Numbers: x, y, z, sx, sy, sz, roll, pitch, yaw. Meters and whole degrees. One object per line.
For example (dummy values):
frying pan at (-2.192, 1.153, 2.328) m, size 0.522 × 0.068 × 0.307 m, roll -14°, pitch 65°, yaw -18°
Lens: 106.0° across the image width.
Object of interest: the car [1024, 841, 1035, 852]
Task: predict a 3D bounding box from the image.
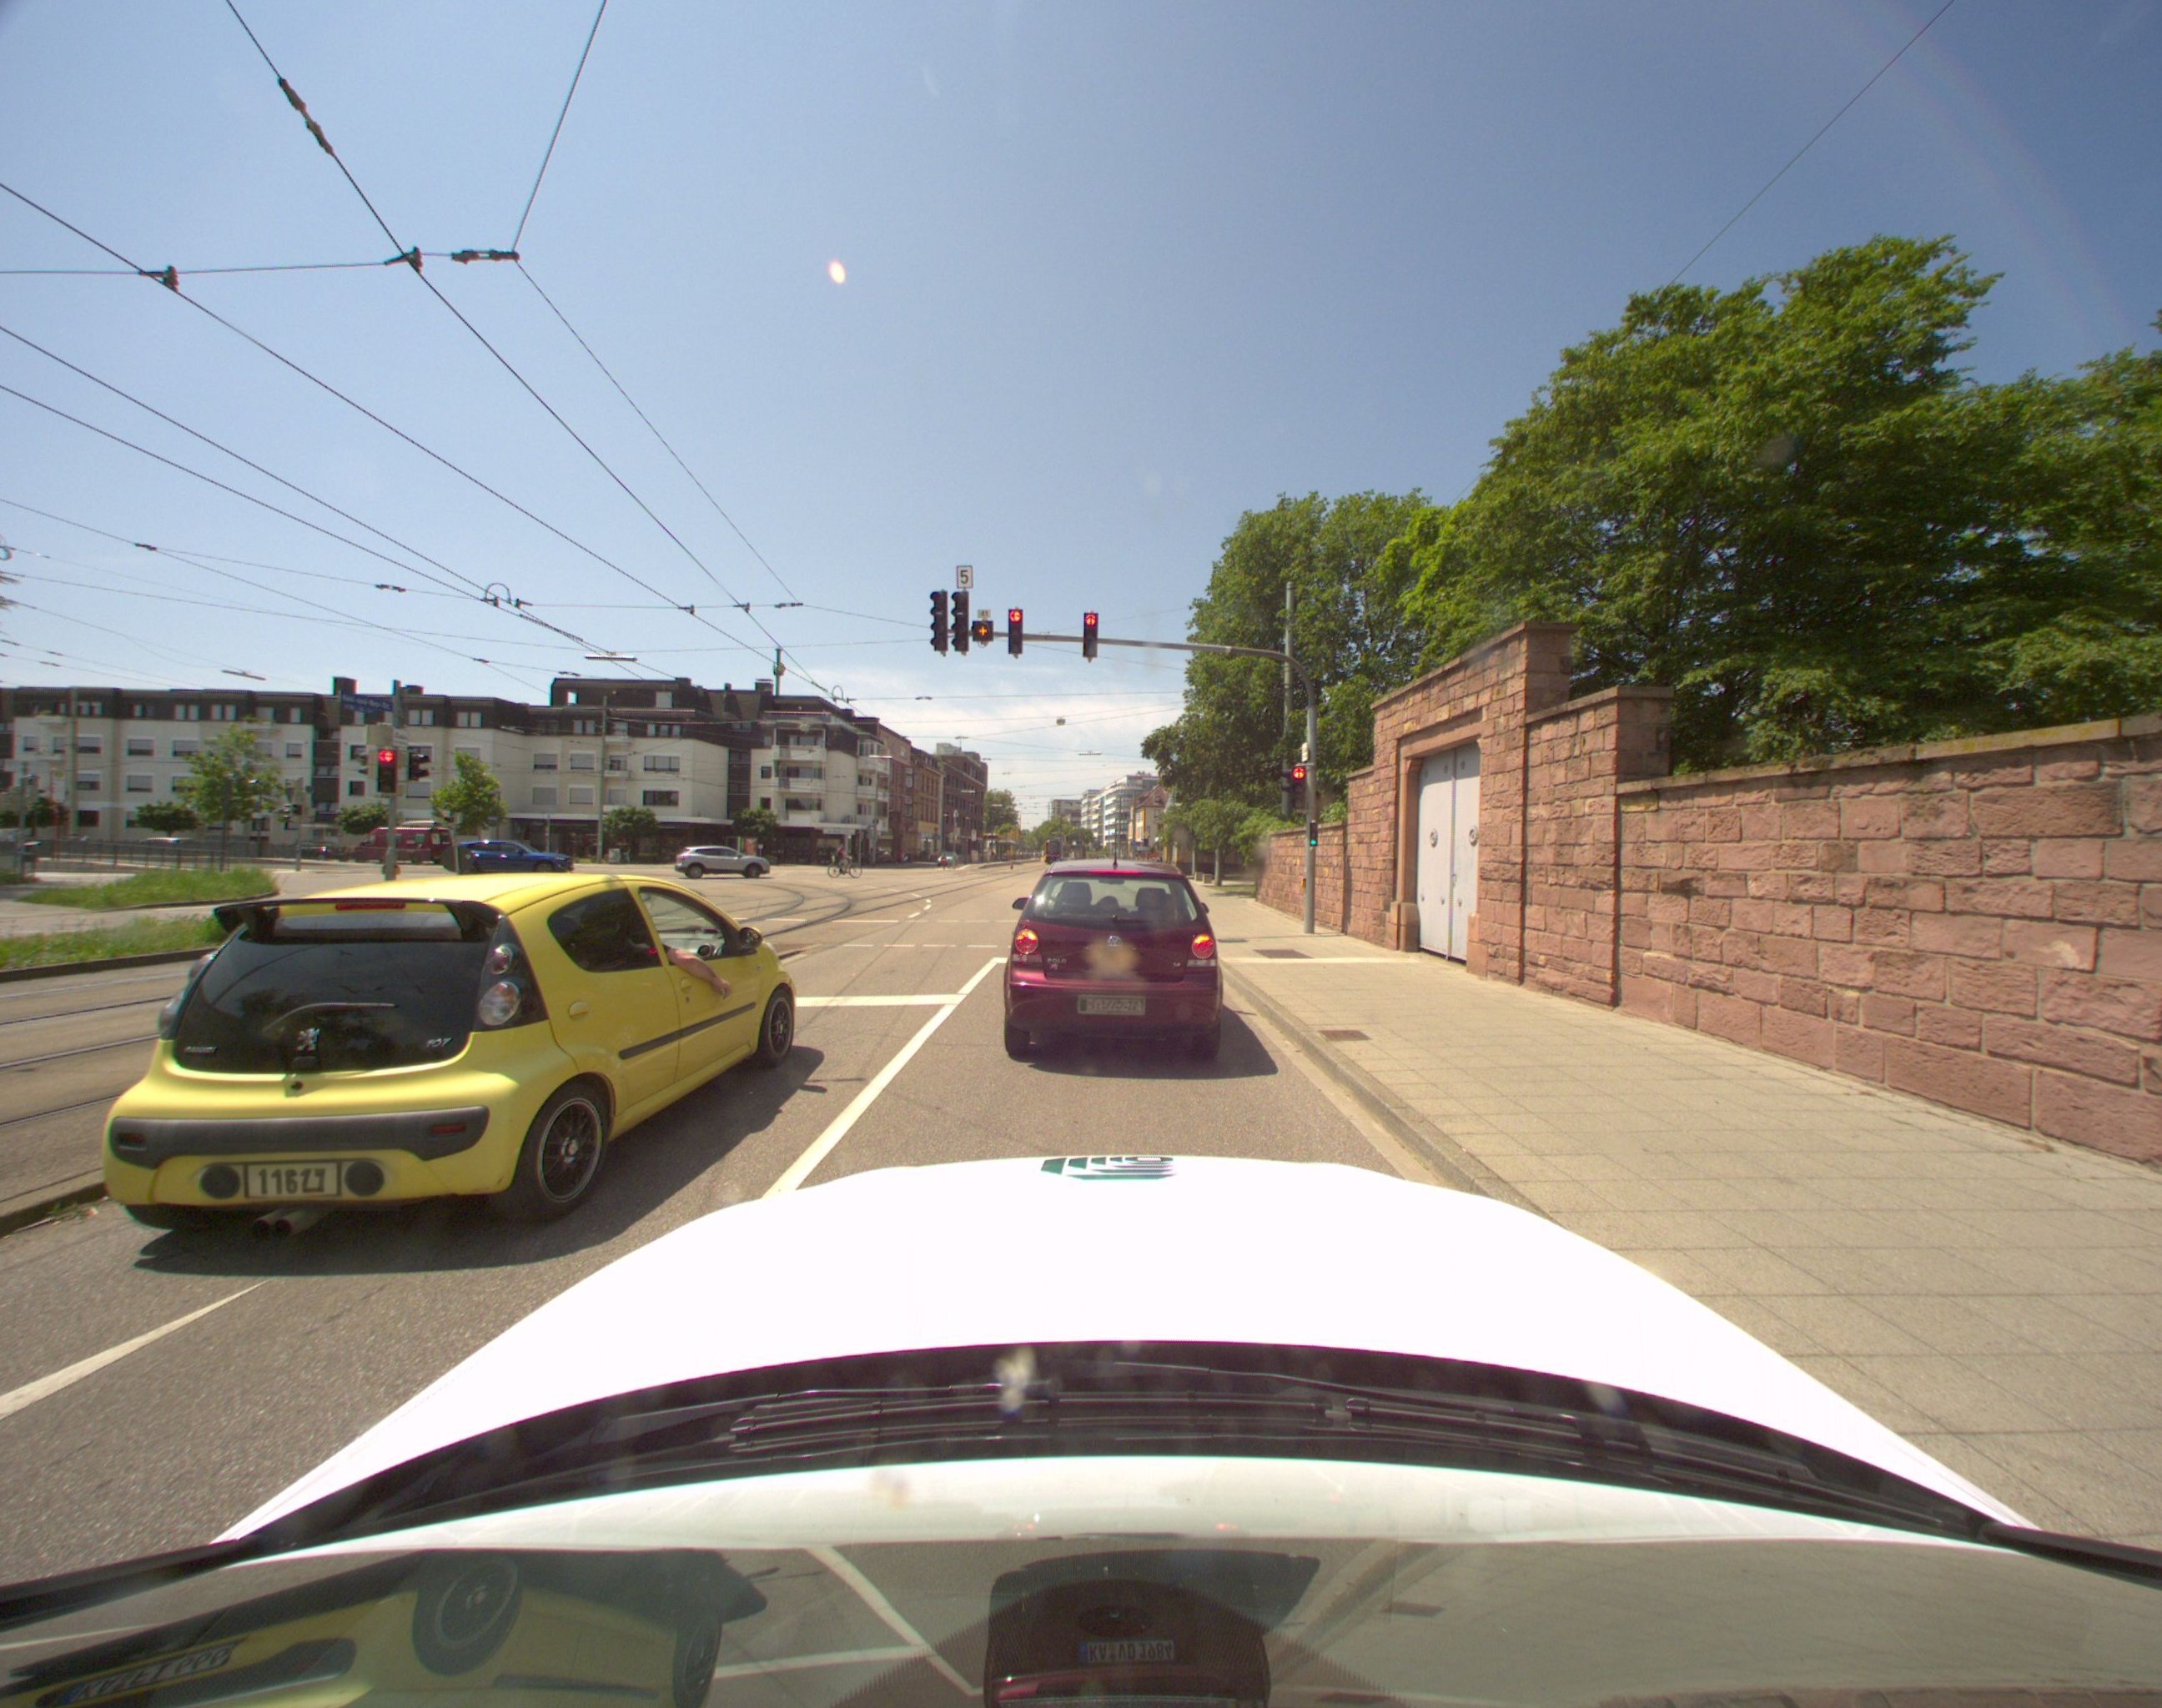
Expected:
car at (-9.725, -1.379, 154.077) m, size 1.728 × 2.013 × 4.002 m, roll 1°, pitch 0°, yaw 2°

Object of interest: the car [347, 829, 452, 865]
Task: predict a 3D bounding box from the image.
car at (-45.508, -0.445, 54.452) m, size 5.048 × 2.341 × 2.244 m, roll 0°, pitch -1°, yaw 0°

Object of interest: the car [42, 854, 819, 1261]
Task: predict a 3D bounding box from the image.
car at (-2.927, 0.751, 4.648) m, size 1.717 × 1.445 × 3.293 m, roll -1°, pitch 0°, yaw 1°

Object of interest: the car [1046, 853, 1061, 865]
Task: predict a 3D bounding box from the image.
car at (-3.876, 0.721, 116.593) m, size 1.931 × 1.641 × 4.000 m, roll 0°, pitch -1°, yaw 1°

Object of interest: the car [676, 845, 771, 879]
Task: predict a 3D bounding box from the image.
car at (-17.764, 0.400, 40.506) m, size 4.163 × 1.584 × 1.921 m, roll 0°, pitch -1°, yaw -29°

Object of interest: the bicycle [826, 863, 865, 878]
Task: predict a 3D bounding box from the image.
bicycle at (-12.482, 0.849, 43.232) m, size 1.996 × 0.783 × 0.461 m, roll 0°, pitch -1°, yaw -38°

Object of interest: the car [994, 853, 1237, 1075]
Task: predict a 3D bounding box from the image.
car at (0.258, 0.737, 7.511) m, size 1.604 × 1.463 × 4.085 m, roll 1°, pitch 0°, yaw 1°

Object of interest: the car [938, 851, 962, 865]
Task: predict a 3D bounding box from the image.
car at (-13.666, 0.419, 85.150) m, size 1.682 × 1.462 × 4.003 m, roll 1°, pitch 0°, yaw 3°

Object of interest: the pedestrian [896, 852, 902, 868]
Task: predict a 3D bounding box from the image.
pedestrian at (-18.320, 0.598, 82.002) m, size 0.481 × 1.541 × 0.539 m, roll 0°, pitch -1°, yaw 5°

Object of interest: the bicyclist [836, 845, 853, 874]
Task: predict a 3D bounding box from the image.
bicyclist at (-12.539, 0.298, 43.111) m, size 0.756 × 1.501 × 0.476 m, roll 0°, pitch -1°, yaw -38°

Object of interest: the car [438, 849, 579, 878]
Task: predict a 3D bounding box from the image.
car at (-25.512, 0.424, 36.493) m, size 4.779 × 1.237 × 1.929 m, roll 0°, pitch -1°, yaw -16°

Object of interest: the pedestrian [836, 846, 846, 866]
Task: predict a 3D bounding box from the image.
pedestrian at (-20.914, 0.157, 70.983) m, size 0.614 × 1.754 × 0.499 m, roll 1°, pitch -2°, yaw -43°

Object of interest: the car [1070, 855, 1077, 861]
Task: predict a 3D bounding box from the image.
car at (-1.741, 0.877, 201.611) m, size 1.567 × 1.415 × 3.721 m, roll -1°, pitch 0°, yaw 1°
